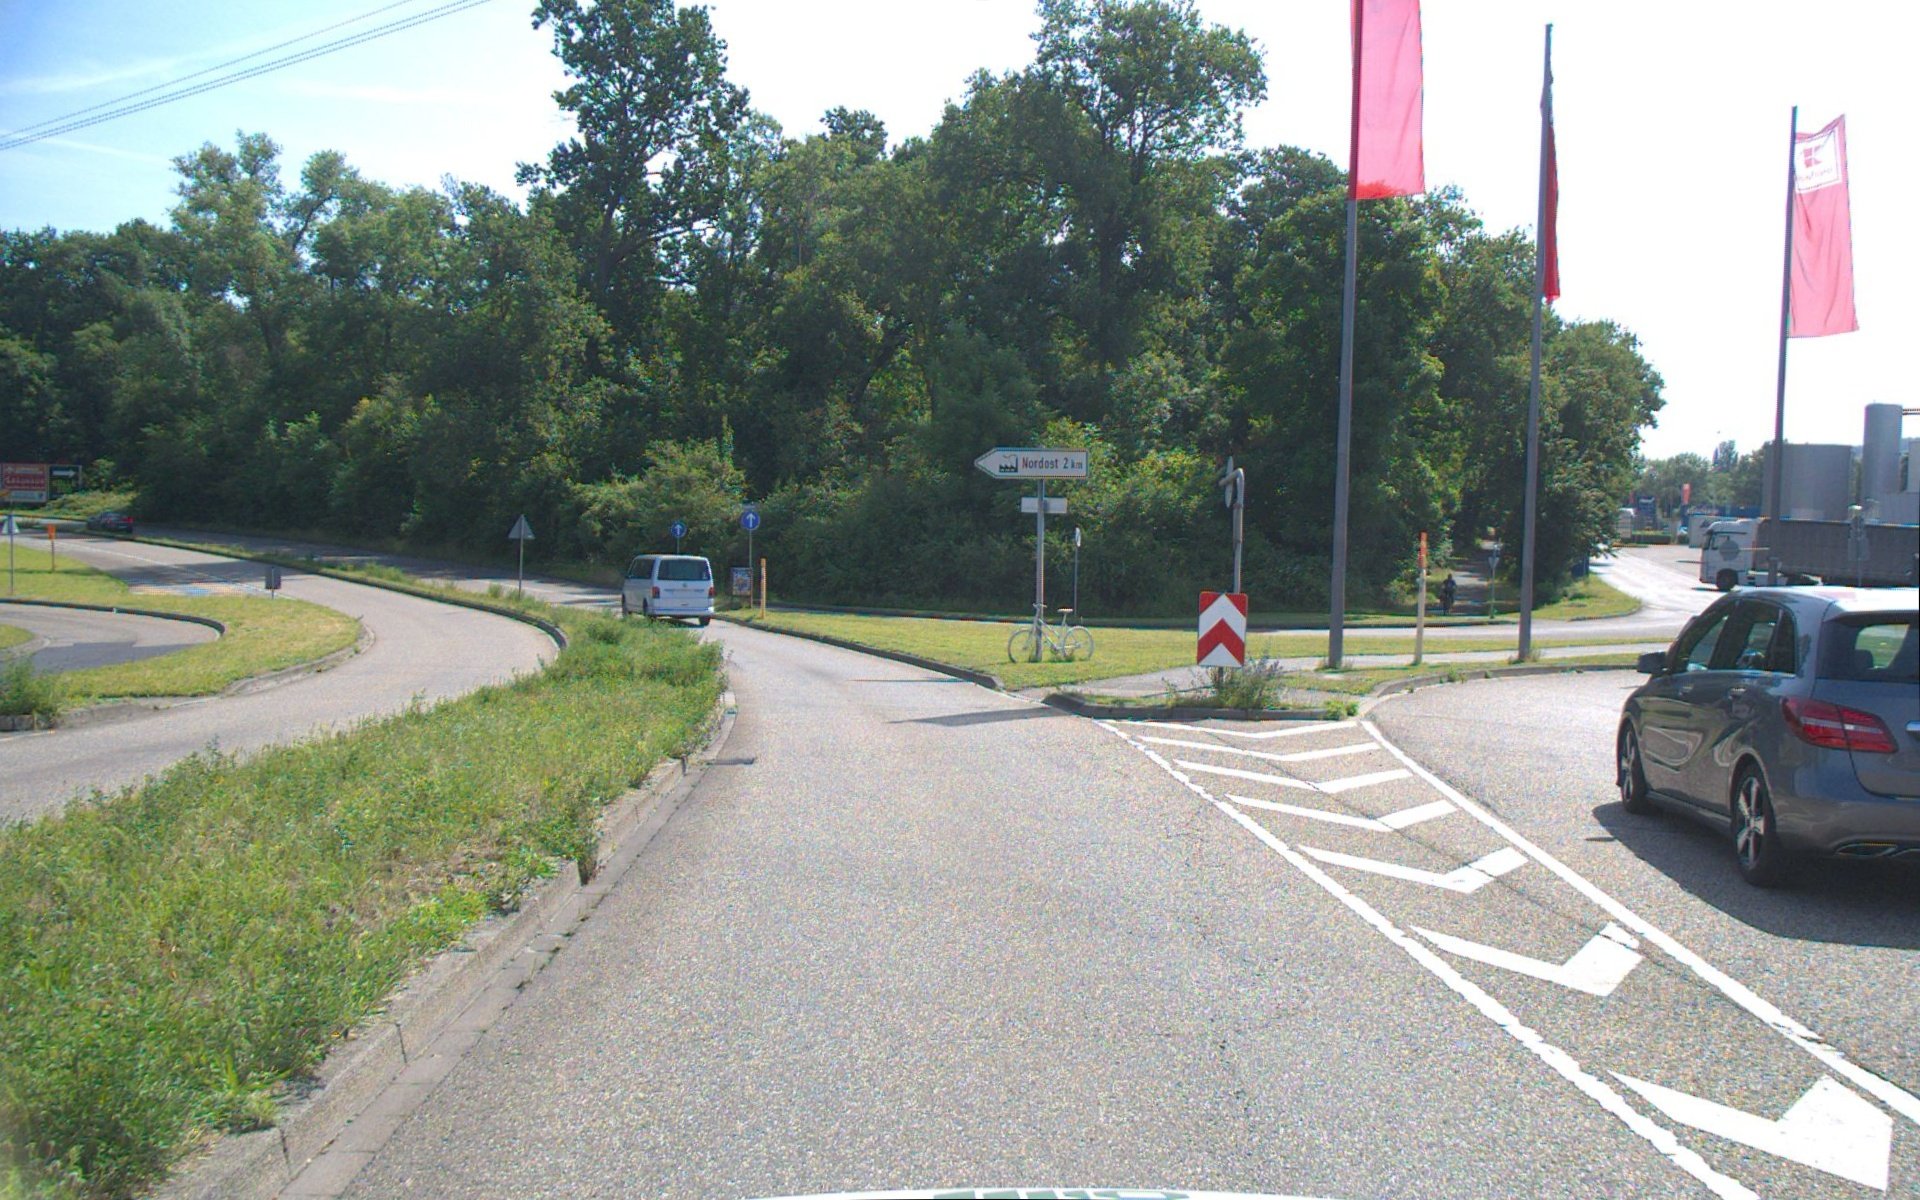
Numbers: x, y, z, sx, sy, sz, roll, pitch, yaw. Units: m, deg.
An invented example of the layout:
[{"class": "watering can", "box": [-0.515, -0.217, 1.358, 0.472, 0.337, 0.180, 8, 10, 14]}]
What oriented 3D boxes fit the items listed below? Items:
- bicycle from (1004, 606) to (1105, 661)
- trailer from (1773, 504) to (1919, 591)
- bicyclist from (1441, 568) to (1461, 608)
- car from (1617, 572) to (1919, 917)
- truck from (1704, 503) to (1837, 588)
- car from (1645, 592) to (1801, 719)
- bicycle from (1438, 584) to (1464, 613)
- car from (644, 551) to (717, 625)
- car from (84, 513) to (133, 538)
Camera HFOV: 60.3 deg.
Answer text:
[{"class": "bicycle", "box": [1.605, 0.559, 27.934, 1.759, 0.904, 0.269, 0, 1, -22]}, {"class": "trailer", "box": [51.213, -2.862, 89.731, 12.437, 4.492, 3.751, 3, 4, 29]}, {"class": "bicyclist", "box": [19.667, -0.489, 66.241, 0.660, 1.560, 0.847, 1, 3, 10]}, {"class": "car", "box": [5.204, 0.632, 9.507, 1.816, 1.556, 4.148, 1, 1, 10]}, {"class": "truck", "box": [45.534, -3.141, 92.931, 6.423, 4.492, 3.751, 3, 4, 29]}, {"class": "car", "box": [11.227, 0.740, 24.338, 1.820, 1.555, 4.140, 5, 2, 25]}, {"class": "bicycle", "box": [19.659, -0.072, 66.269, 0.708, 0.994, 2.189, 2, 4, 10]}, {"class": "car", "box": [-8.068, -0.375, 47.834, 2.002, 2.048, 3.992, 0, 1, -9]}, {"class": "car", "box": [-58.988, -5.169, 114.601, 3.587, 1.593, 1.645, 4, 4, 38]}]
